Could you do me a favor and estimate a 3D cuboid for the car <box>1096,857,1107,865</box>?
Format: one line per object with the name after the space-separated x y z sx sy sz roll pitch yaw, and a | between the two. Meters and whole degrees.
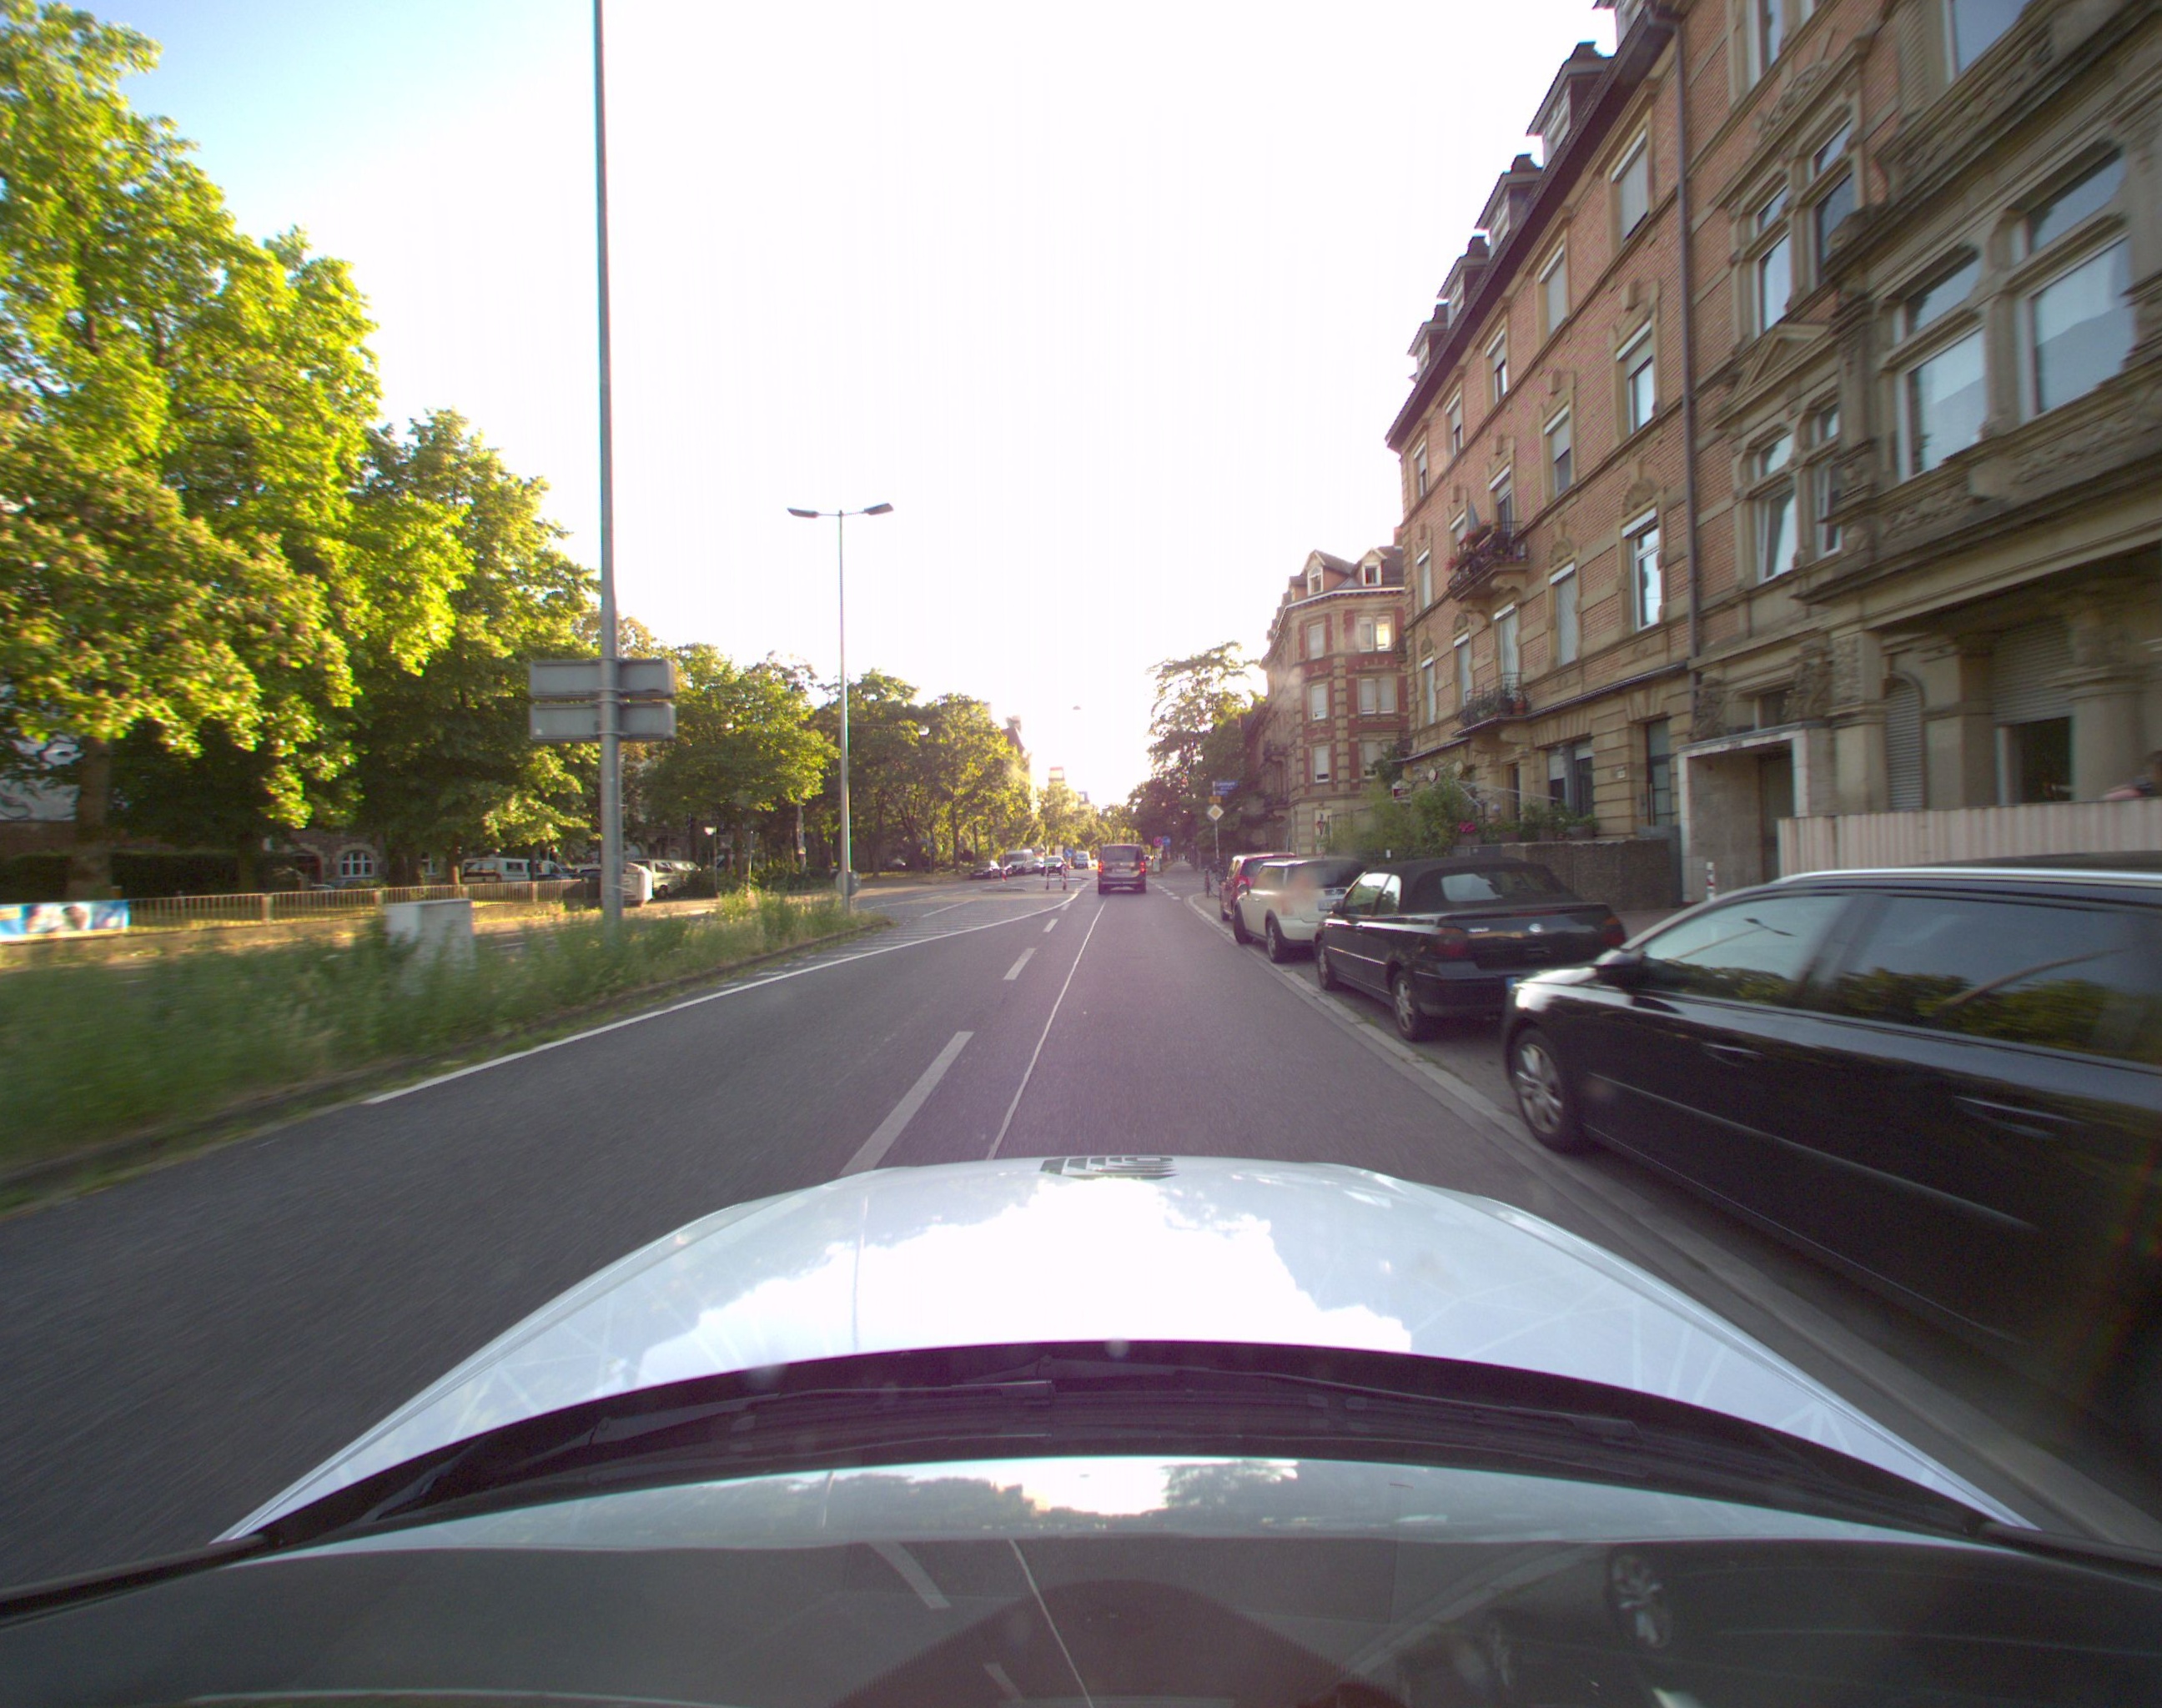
3.686 1.314 148.259 1.688 1.451 4.007 0 0 6 | car

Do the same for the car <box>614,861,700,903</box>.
-19.893 1.271 38.388 1.811 1.795 4.003 -1 0 3 | car

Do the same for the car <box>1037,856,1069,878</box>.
-2.428 1.093 71.668 1.866 1.706 4.578 -4 -1 8 | car

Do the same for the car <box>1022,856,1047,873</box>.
-4.952 1.097 86.674 1.856 1.645 4.579 -3 0 6 | car

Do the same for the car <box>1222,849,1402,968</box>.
3.360 0.724 12.567 1.671 1.426 3.677 -5 0 1 | car

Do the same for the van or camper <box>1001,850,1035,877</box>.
-6.062 0.883 79.099 2.080 2.468 6.316 -3 0 6 | van or camper

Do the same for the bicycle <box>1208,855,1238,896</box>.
4.772 0.714 27.474 0.563 1.275 2.266 -6 -2 2 | bicycle

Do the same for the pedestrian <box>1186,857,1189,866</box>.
20.982 1.462 160.378 0.641 1.633 0.657 0 0 7 | pedestrian

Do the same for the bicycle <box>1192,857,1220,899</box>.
4.201 0.799 27.482 0.563 1.299 2.266 -6 -2 2 | bicycle

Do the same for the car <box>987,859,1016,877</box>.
-6.987 1.203 71.707 1.620 1.429 4.249 -3 0 6 | car

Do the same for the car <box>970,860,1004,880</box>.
-7.504 1.278 65.632 1.615 1.506 4.553 -2 0 7 | car

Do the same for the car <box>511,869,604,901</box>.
-25.072 1.458 39.151 1.725 1.332 4.003 -1 0 3 | car

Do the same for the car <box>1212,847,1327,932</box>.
3.864 0.669 17.223 1.719 1.465 3.550 -5 0 4 | car

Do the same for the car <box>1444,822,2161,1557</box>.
3.185 0.683 2.796 1.881 1.448 4.465 -5 0 1 | car

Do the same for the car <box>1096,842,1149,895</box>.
1.681 0.539 32.438 1.879 1.925 3.843 -2 0 4 | car

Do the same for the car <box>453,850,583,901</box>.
-27.251 0.973 39.687 2.202 2.289 5.111 -1 0 9 | car

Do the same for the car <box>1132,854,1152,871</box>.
6.432 0.900 85.563 1.984 1.634 4.006 -2 0 5 | car

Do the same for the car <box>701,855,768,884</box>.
-32.548 1.440 76.664 2.244 2.485 5.267 -2 0 40 | car

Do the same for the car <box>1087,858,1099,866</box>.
1.966 1.327 133.576 1.528 1.248 3.620 0 0 6 | car

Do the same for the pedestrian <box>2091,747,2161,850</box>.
9.109 -0.467 7.095 0.305 0.870 0.322 0 0 35 | pedestrian

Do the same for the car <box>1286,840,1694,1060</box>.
3.483 0.697 8.032 1.880 1.426 4.345 -5 0 2 | car

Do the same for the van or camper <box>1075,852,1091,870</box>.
0.295 1.001 119.389 1.985 2.668 6.043 0 0 3 | van or camper
